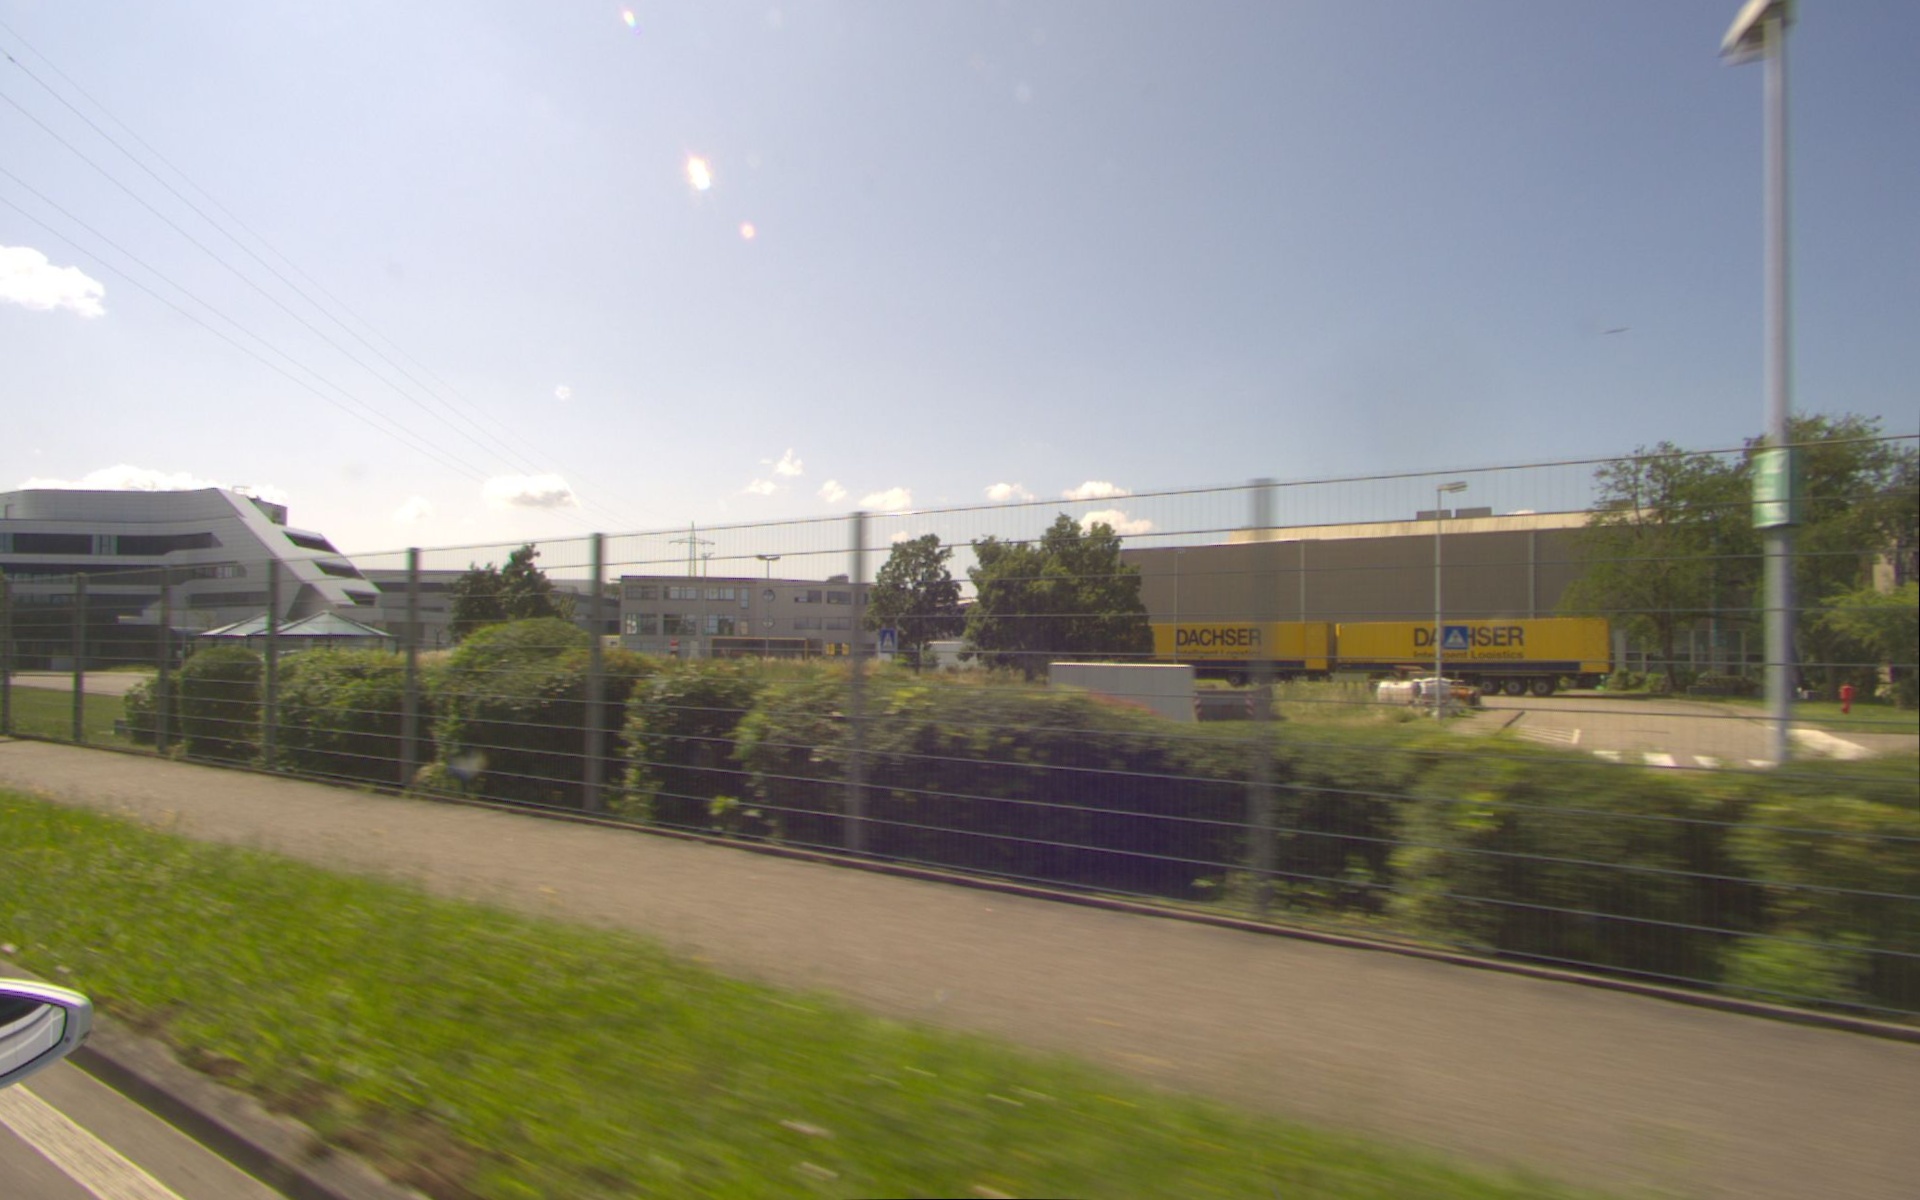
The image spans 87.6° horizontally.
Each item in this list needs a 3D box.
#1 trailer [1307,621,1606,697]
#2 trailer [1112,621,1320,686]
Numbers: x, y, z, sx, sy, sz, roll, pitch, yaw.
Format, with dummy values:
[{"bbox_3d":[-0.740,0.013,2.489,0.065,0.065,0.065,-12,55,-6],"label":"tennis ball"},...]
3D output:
[{"bbox_3d":[27.528,3.170,56.414,14.848,3.889,2.931,-1,-3,33],"label":"trailer"},{"bbox_3d":[16.112,3.315,63.937,12.574,3.813,2.913,-1,-3,33],"label":"trailer"}]
